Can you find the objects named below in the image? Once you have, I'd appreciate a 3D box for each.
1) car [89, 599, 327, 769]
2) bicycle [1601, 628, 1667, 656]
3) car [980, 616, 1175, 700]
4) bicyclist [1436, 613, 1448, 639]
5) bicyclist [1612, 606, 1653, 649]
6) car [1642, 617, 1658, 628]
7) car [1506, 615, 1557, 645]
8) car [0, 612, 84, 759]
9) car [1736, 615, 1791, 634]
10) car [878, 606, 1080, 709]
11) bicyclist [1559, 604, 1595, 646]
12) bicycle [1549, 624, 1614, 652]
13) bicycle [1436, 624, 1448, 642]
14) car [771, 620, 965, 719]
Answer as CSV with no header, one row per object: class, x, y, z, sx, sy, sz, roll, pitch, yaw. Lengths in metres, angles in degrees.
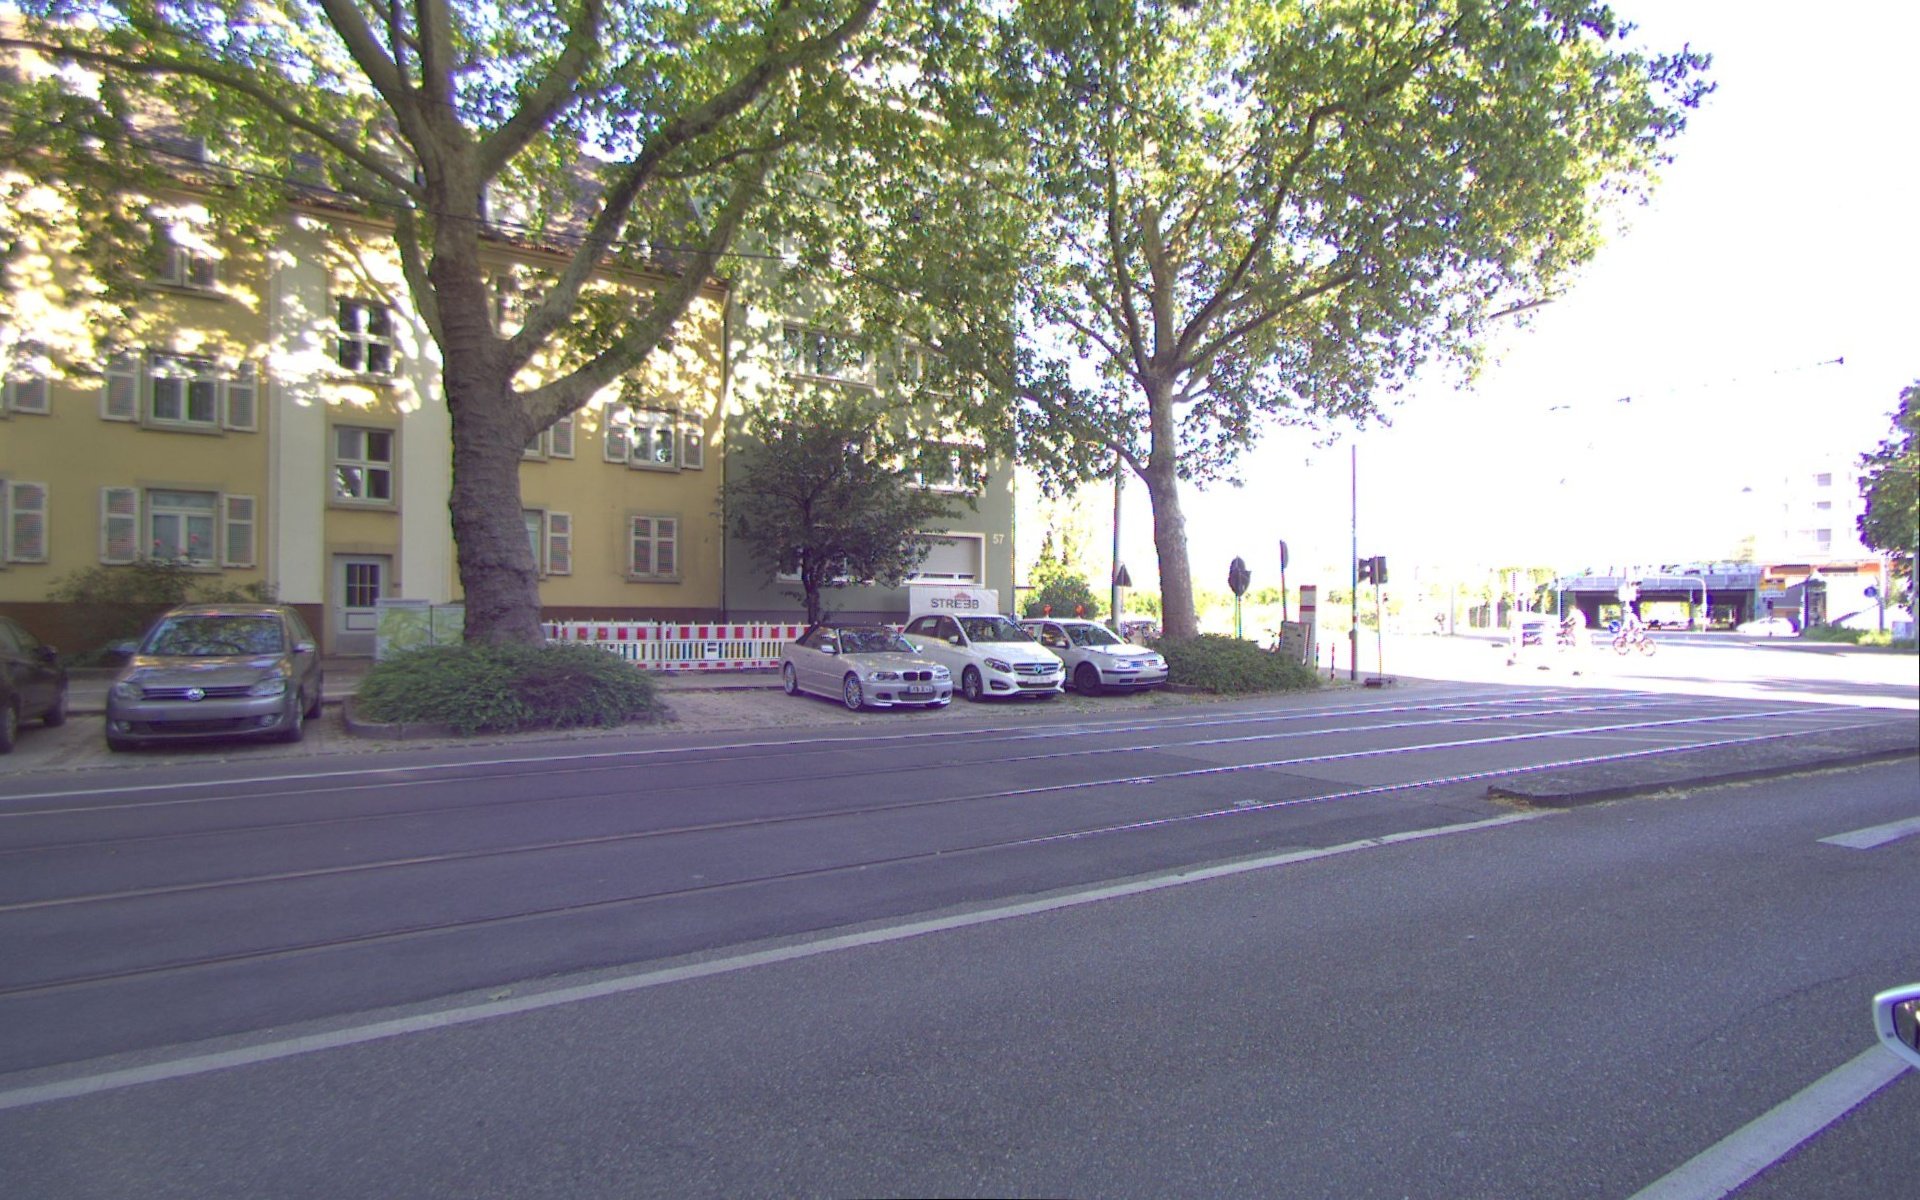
car,-9.041,0.858,12.426,1.793,1.627,4.169,1,1,-29
bicycle,24.922,1.533,37.195,0.662,0.997,2.057,1,-1,-18
car,2.295,1.108,20.825,1.656,1.448,4.490,1,0,-30
bicyclist,29.457,1.593,61.378,0.625,1.584,0.832,0,-1,28
bicyclist,24.925,1.018,37.222,0.786,1.591,1.009,1,-1,-18
car,117.439,3.819,170.898,2.183,1.847,4.134,0,-1,34
car,32.423,1.684,56.944,1.803,1.539,3.876,2,1,40
car,-11.398,0.879,11.297,1.723,1.448,3.545,1,0,-31
car,78.479,2.408,98.216,4.123,1.829,1.730,-1,-1,38
car,0.216,0.992,19.480,1.777,1.640,4.587,1,1,-30
bicyclist,25.379,1.021,41.343,0.862,1.730,0.925,1,-1,-20
bicycle,25.439,1.560,41.192,0.788,1.098,2.290,1,-1,-19
bicycle,29.451,2.004,61.375,0.572,1.075,2.039,0,-1,27
car,-1.734,1.093,17.436,1.708,1.386,4.219,1,0,-31
